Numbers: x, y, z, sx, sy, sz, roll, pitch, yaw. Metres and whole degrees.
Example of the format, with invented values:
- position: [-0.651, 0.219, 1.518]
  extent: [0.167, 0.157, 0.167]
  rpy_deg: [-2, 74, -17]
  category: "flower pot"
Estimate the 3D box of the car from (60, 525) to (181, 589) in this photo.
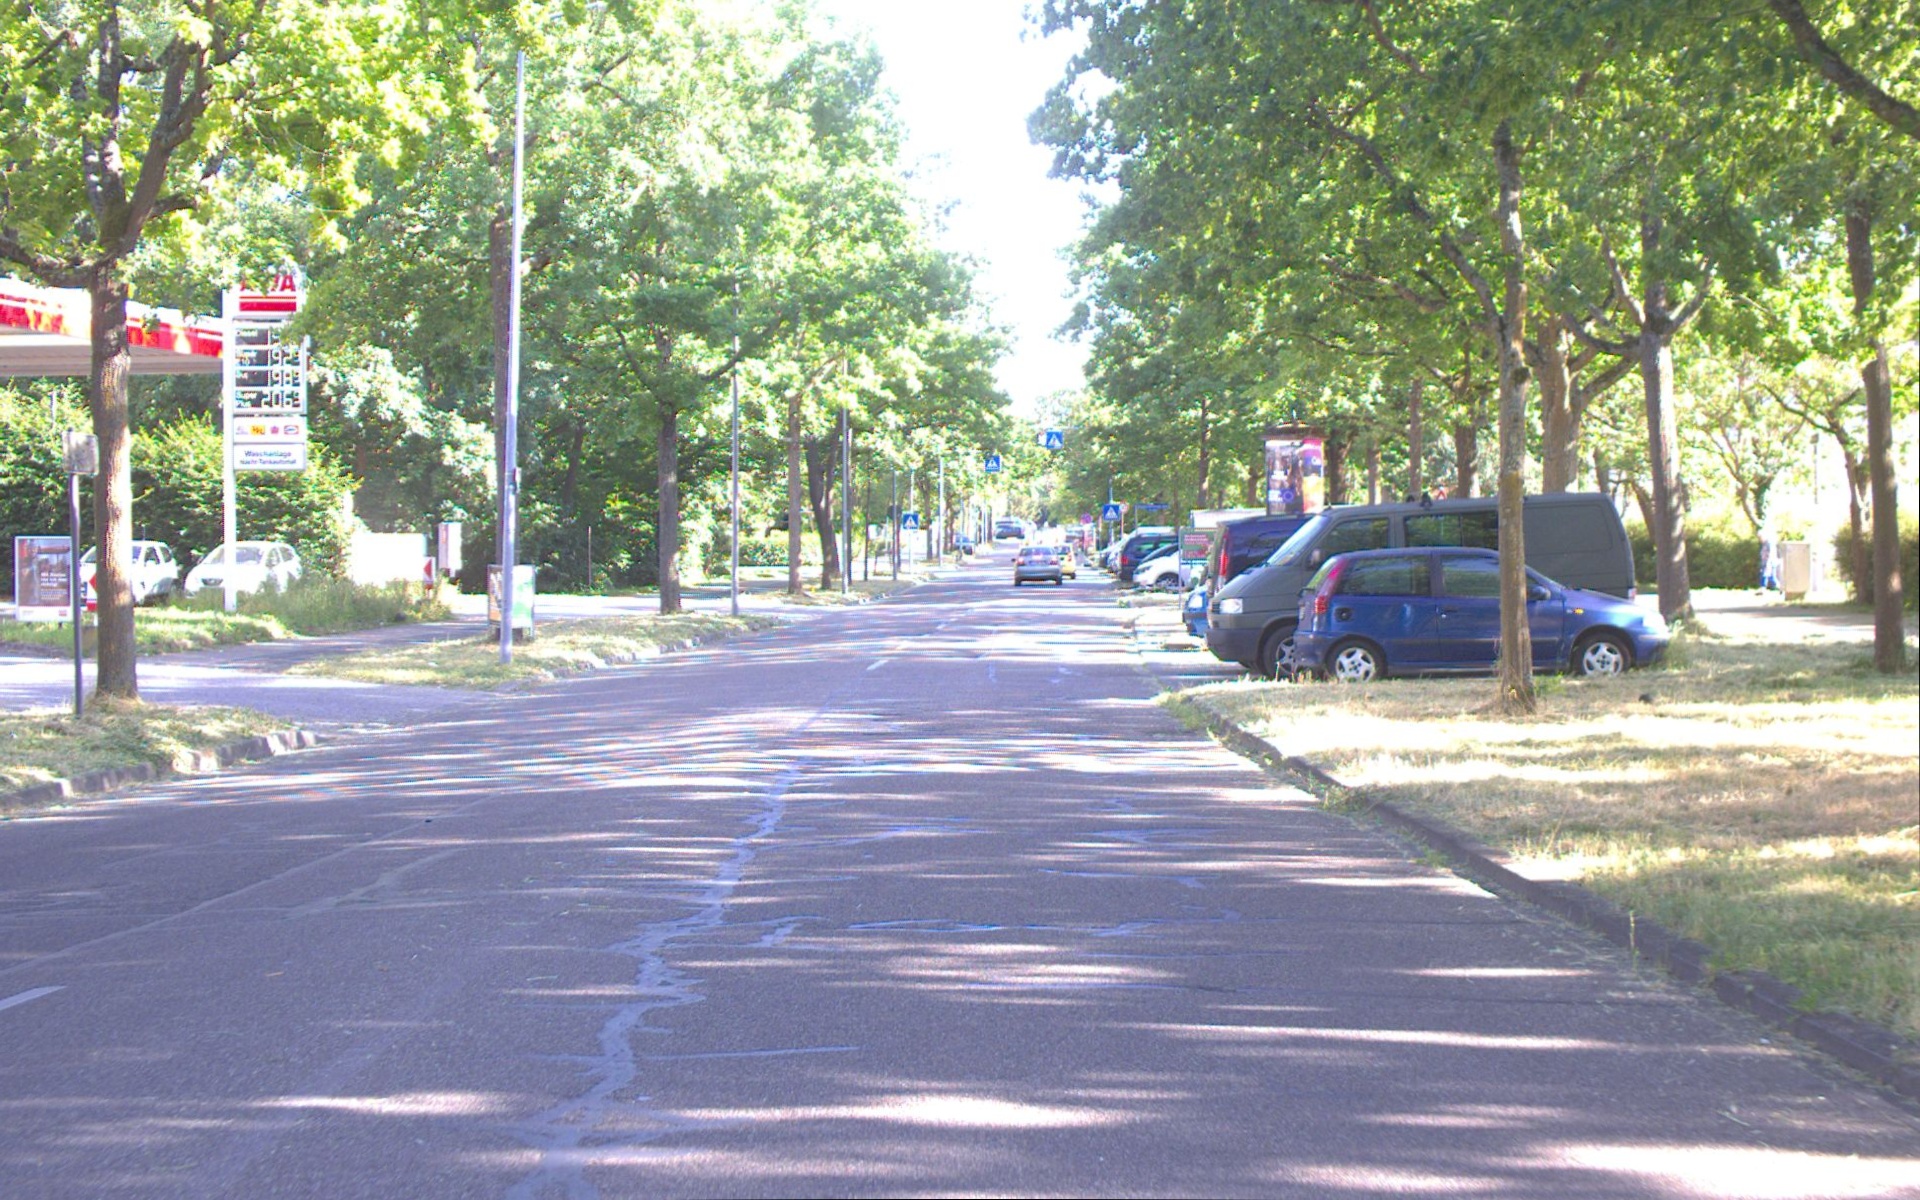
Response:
- position: [-18.541, -0.965, 76.033]
  extent: [1.423, 1.363, 3.204]
  rpy_deg: [2, 1, 10]
  category: "car"

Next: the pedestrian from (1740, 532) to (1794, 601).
- position: [17.903, -0.745, 76.255]
  extent: [0.883, 1.495, 0.942]
  rpy_deg: [-1, 1, 30]
  category: "pedestrian"

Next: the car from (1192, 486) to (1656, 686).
- position: [5.001, -0.168, 37.583]
  extent: [4.803, 2.025, 1.944]
  rpy_deg: [-1, 1, 2]
  category: "car"

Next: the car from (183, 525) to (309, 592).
- position: [-15.785, -0.927, 76.140]
  extent: [1.547, 1.417, 3.485]
  rpy_deg: [2, 1, 10]
  category: "car"

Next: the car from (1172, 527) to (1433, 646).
- position: [4.759, -0.194, 48.082]
  extent: [3.521, 1.527, 1.665]
  rpy_deg: [-2, 1, 4]
  category: "car"

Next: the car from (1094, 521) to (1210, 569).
- position: [8.756, -2.527, 156.992]
  extent: [5.187, 2.098, 2.082]
  rpy_deg: [-1, 1, 1]
  category: "car"

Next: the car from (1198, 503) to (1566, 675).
- position: [4.889, -0.137, 40.205]
  extent: [4.008, 1.830, 1.799]
  rpy_deg: [-2, 1, 0]
  category: "car"

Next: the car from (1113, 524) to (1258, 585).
- position: [7.178, -1.451, 109.627]
  extent: [4.530, 1.795, 1.936]
  rpy_deg: [-1, 1, 2]
  category: "car"

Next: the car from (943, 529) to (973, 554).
- position: [-0.163, -4.110, 240.271]
  extent: [1.993, 1.711, 4.000]
  rpy_deg: [0, 1, 1]
  category: "car"

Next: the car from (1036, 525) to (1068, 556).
- position: [5.689, -3.701, 213.109]
  extent: [1.993, 1.926, 4.000]
  rpy_deg: [0, 1, 1]
  category: "car"

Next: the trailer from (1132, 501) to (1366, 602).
- position: [7.324, -1.234, 87.265]
  extent: [5.775, 2.310, 1.686]
  rpy_deg: [-2, 1, 4]
  category: "trailer"

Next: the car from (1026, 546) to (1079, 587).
- position: [3.826, -1.404, 142.534]
  extent: [1.993, 1.650, 4.000]
  rpy_deg: [0, 1, -1]
  category: "car"

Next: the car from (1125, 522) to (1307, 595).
- position: [6.690, -1.092, 90.105]
  extent: [4.642, 1.716, 1.987]
  rpy_deg: [-2, 1, 3]
  category: "car"

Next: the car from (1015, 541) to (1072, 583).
- position: [2.997, -1.366, 123.981]
  extent: [1.993, 1.479, 4.000]
  rpy_deg: [0, 1, 0]
  category: "car"

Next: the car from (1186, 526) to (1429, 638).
- position: [5.288, -0.281, 52.675]
  extent: [3.584, 1.571, 1.786]
  rpy_deg: [-2, 1, 4]
  category: "car"

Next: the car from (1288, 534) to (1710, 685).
- position: [5.387, 0.083, 34.713]
  extent: [3.988, 1.398, 1.739]
  rpy_deg: [-1, 1, 2]
  category: "car"
